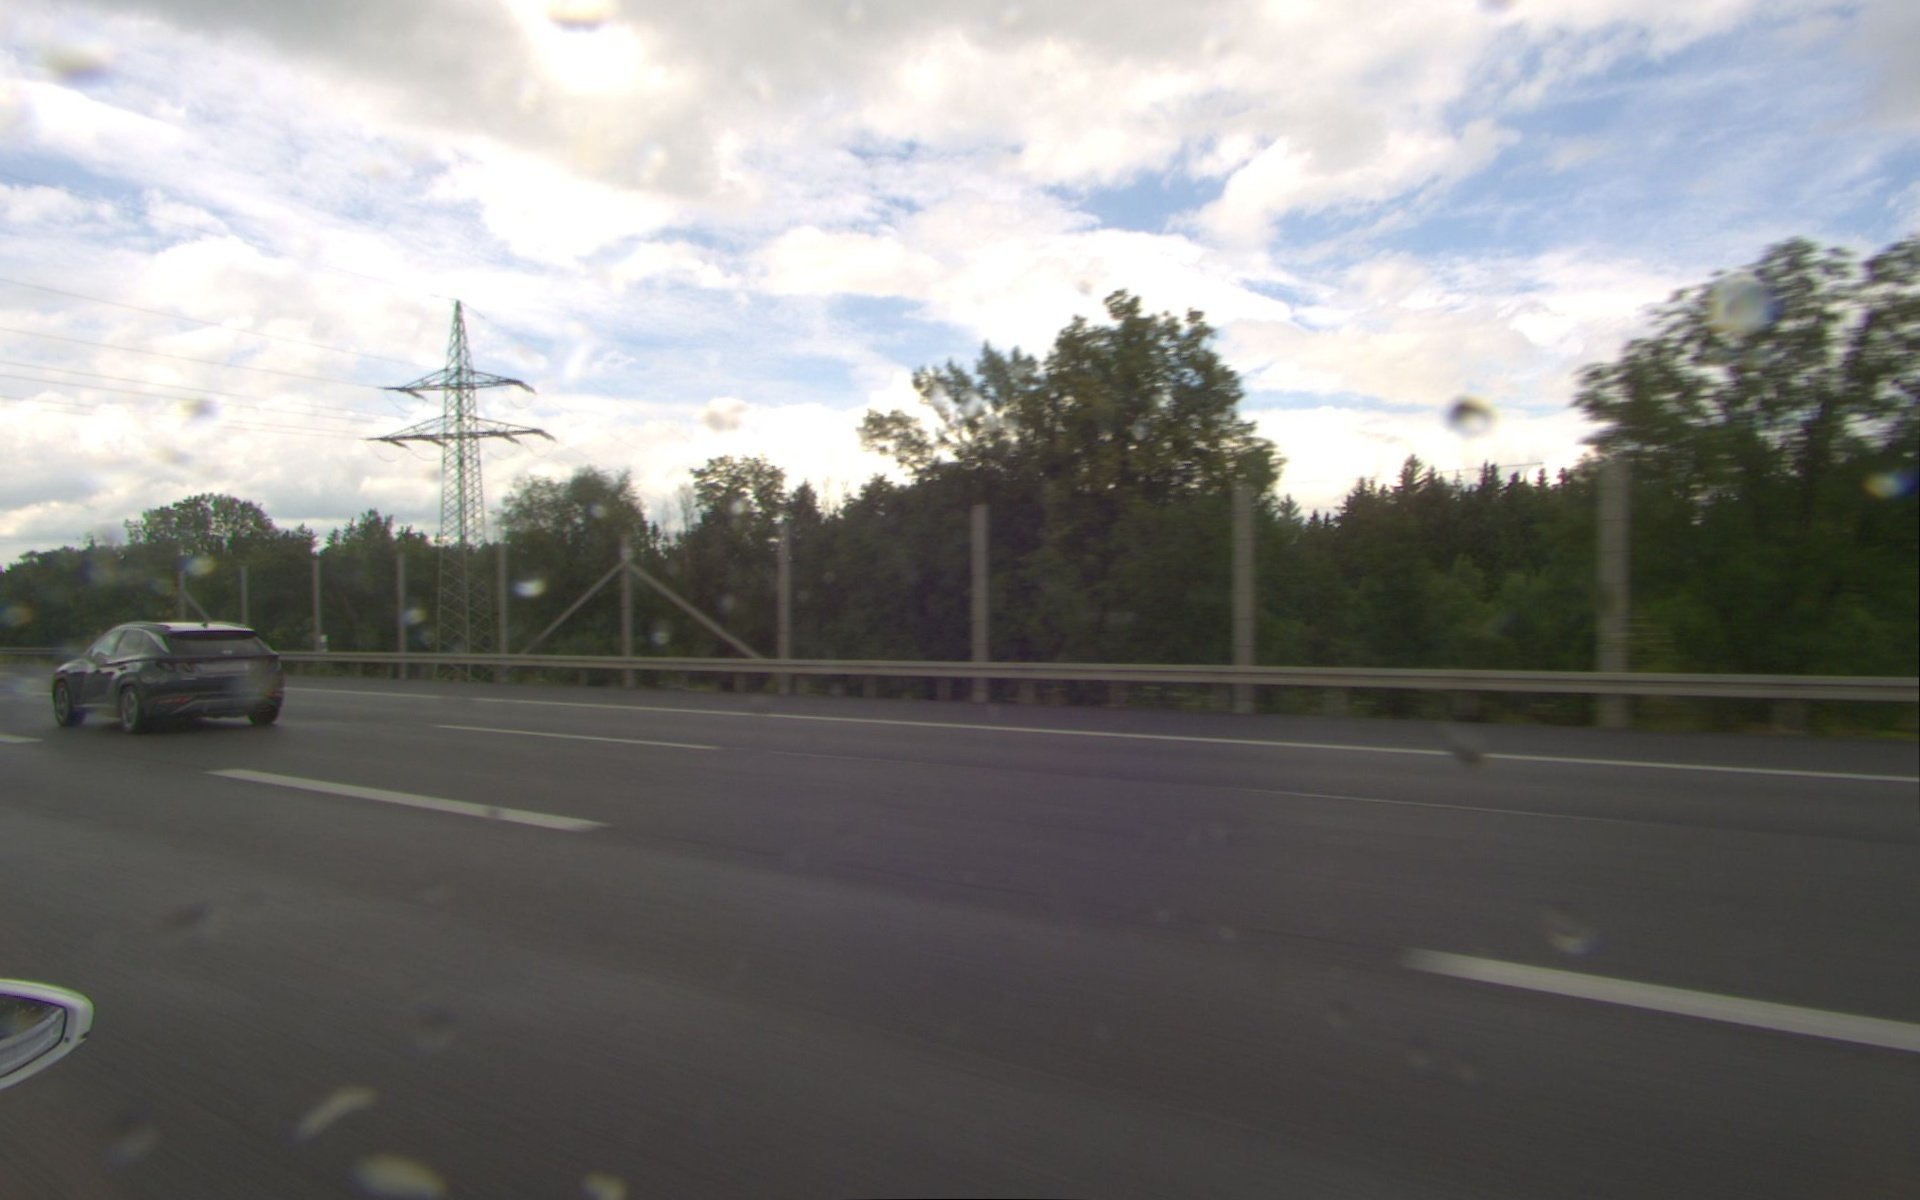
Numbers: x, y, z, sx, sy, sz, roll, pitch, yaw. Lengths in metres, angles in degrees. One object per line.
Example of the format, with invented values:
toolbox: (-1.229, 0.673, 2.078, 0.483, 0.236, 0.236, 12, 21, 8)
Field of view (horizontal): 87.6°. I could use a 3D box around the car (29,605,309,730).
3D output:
car: (-12.726, 0.994, 16.022, 4.936, 1.721, 2.042, 0, -2, 33)
